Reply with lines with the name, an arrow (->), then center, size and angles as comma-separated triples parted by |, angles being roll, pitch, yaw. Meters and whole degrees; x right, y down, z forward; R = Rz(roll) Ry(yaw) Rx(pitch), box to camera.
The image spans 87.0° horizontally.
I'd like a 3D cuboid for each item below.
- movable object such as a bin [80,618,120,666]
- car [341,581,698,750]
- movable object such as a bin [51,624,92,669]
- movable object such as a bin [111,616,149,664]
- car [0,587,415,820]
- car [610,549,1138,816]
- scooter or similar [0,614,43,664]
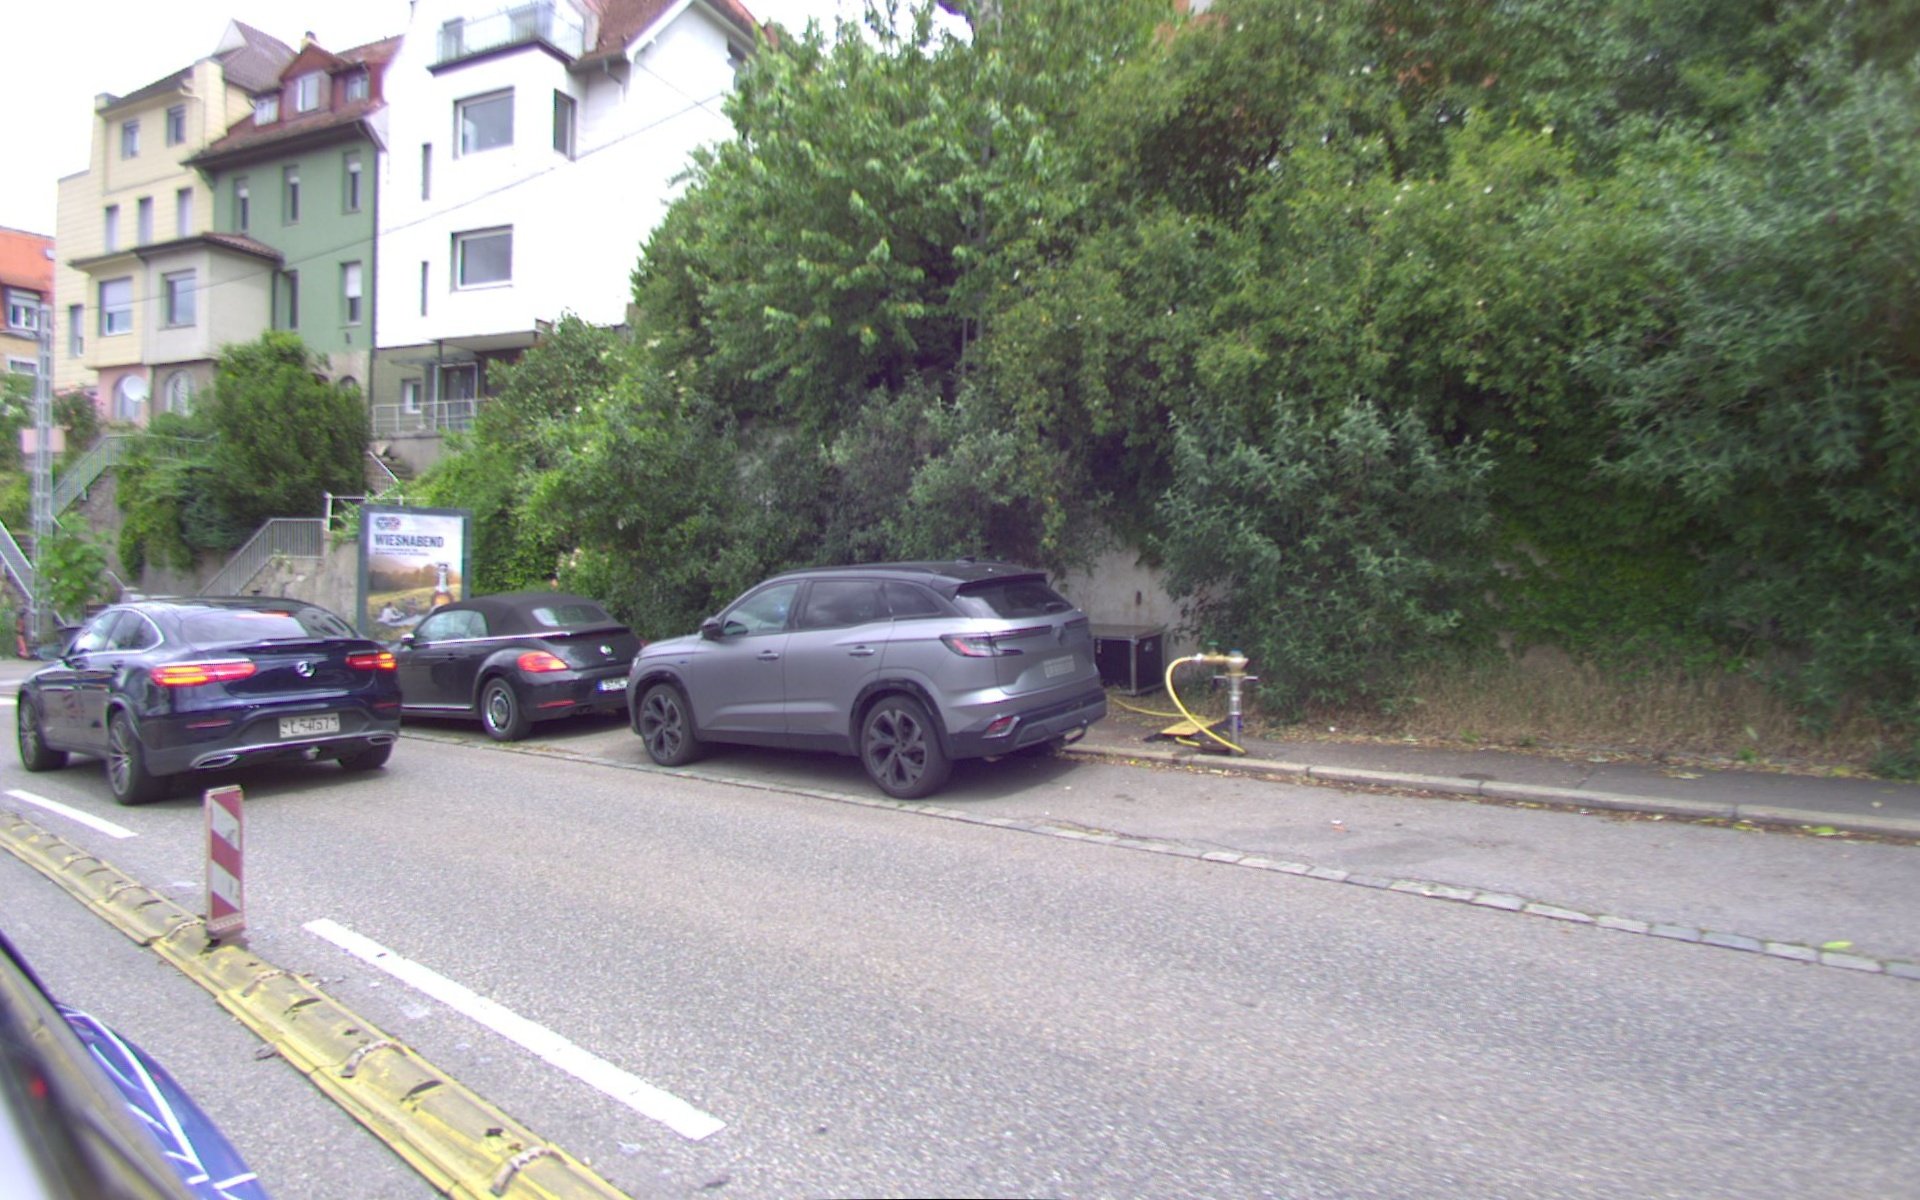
movable object such as a bin -> -19.410, 0.943, 22.852 | 0.621, 1.061, 0.465 | -1, 1, 28
car -> -5.002, 0.628, 11.332 | 3.990, 1.521, 1.779 | -1, 2, 34
movable object such as a bin -> -19.665, 1.022, 22.392 | 0.621, 0.941, 0.465 | -1, 1, 28
movable object such as a bin -> -19.280, 0.927, 23.510 | 0.621, 1.061, 0.465 | -1, 1, 28
car -> -6.739, 0.748, 8.915 | 4.221, 1.579, 1.752 | -2, 0, 36
car -> -0.853, 0.500, 8.158 | 4.181, 1.618, 1.671 | -1, 2, 38
scooter or similar -> -24.088, 0.994, 25.833 | 1.428, 1.214, 0.457 | -1, 2, 26
